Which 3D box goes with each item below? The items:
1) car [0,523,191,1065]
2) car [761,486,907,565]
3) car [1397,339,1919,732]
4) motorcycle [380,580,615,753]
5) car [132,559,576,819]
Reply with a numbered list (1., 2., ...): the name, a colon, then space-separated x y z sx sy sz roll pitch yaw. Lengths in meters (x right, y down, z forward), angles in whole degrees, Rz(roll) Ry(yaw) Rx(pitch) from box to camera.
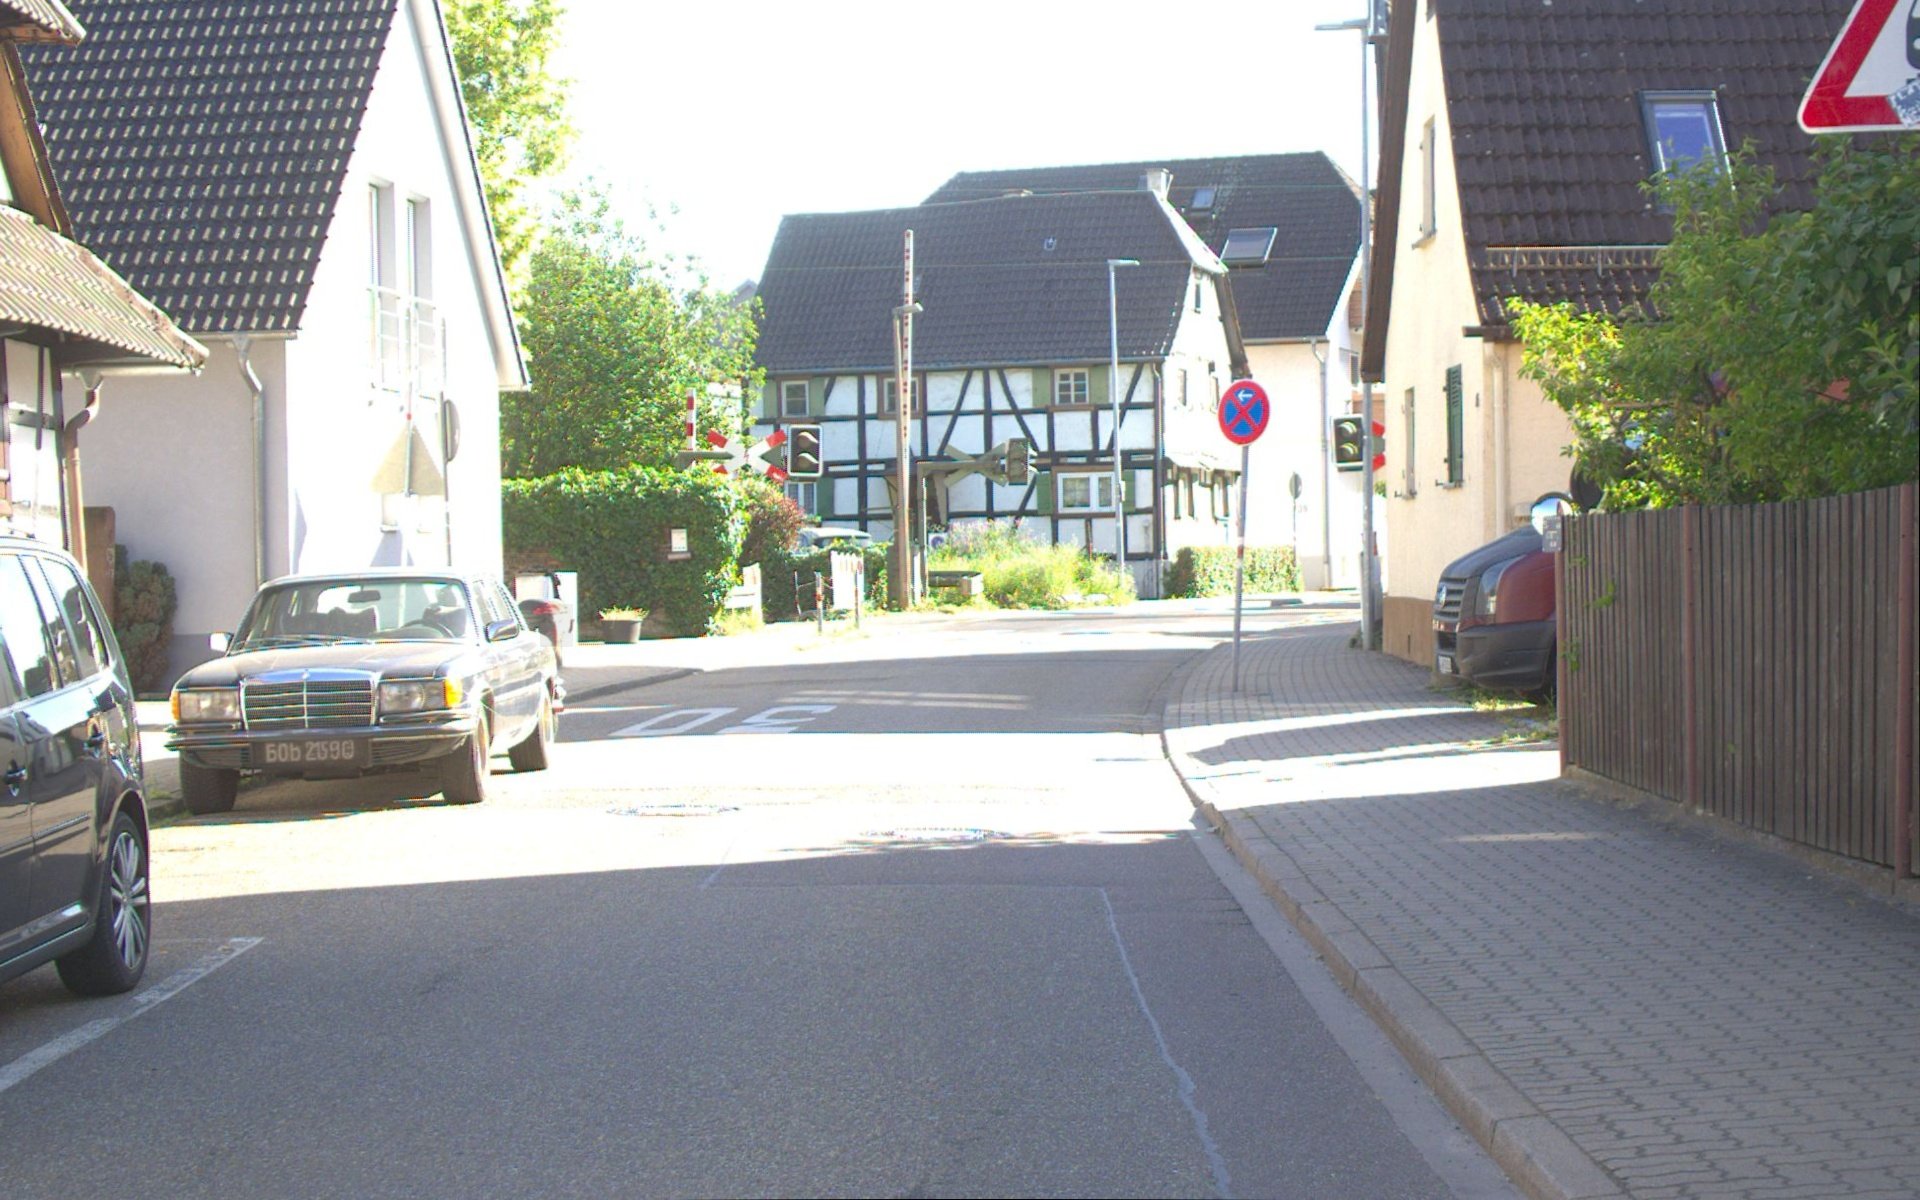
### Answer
1. car: -3.735 0.583 10.383 1.784 1.599 4.361 -1 1 1
2. car: -2.624 -1.523 70.924 1.683 1.559 4.001 1 0 -23
3. car: 6.340 -0.508 25.401 5.802 2.646 1.968 -2 0 -3
4. motorcycle: -3.457 0.477 25.599 1.993 1.227 0.625 0 2 45
5. car: -3.697 0.486 21.887 1.844 1.401 5.036 -2 0 1
